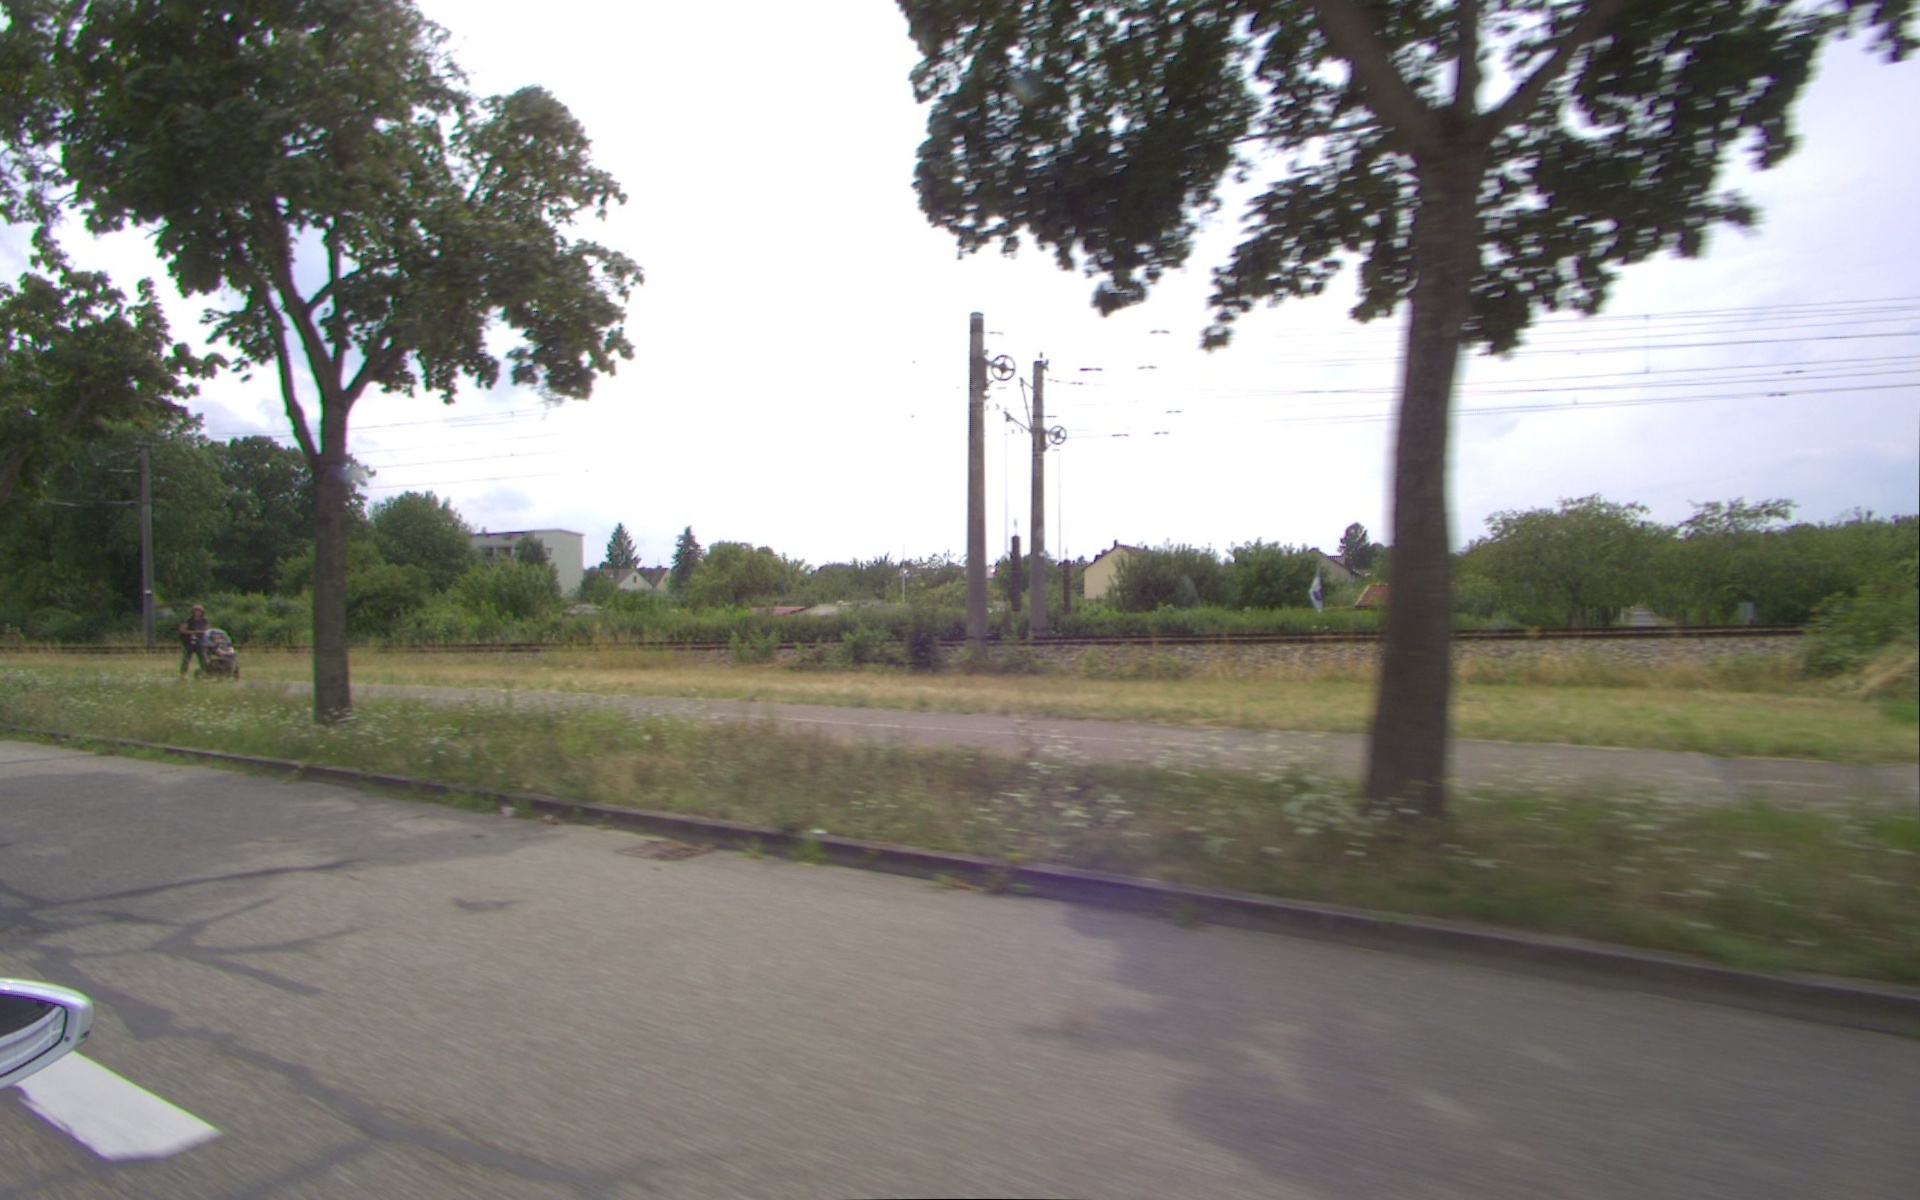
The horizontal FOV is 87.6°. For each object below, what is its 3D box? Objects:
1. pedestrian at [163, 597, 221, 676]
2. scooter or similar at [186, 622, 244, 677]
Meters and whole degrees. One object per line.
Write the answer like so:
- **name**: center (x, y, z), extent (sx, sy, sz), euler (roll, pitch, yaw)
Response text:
- **pedestrian**: center (-17.131, 0.797, 22.336), extent (0.919, 1.718, 0.690), euler (0, 1, 27)
- **scooter or similar**: center (-16.312, 1.068, 21.922), extent (0.919, 1.145, 0.681), euler (0, 0, 27)
